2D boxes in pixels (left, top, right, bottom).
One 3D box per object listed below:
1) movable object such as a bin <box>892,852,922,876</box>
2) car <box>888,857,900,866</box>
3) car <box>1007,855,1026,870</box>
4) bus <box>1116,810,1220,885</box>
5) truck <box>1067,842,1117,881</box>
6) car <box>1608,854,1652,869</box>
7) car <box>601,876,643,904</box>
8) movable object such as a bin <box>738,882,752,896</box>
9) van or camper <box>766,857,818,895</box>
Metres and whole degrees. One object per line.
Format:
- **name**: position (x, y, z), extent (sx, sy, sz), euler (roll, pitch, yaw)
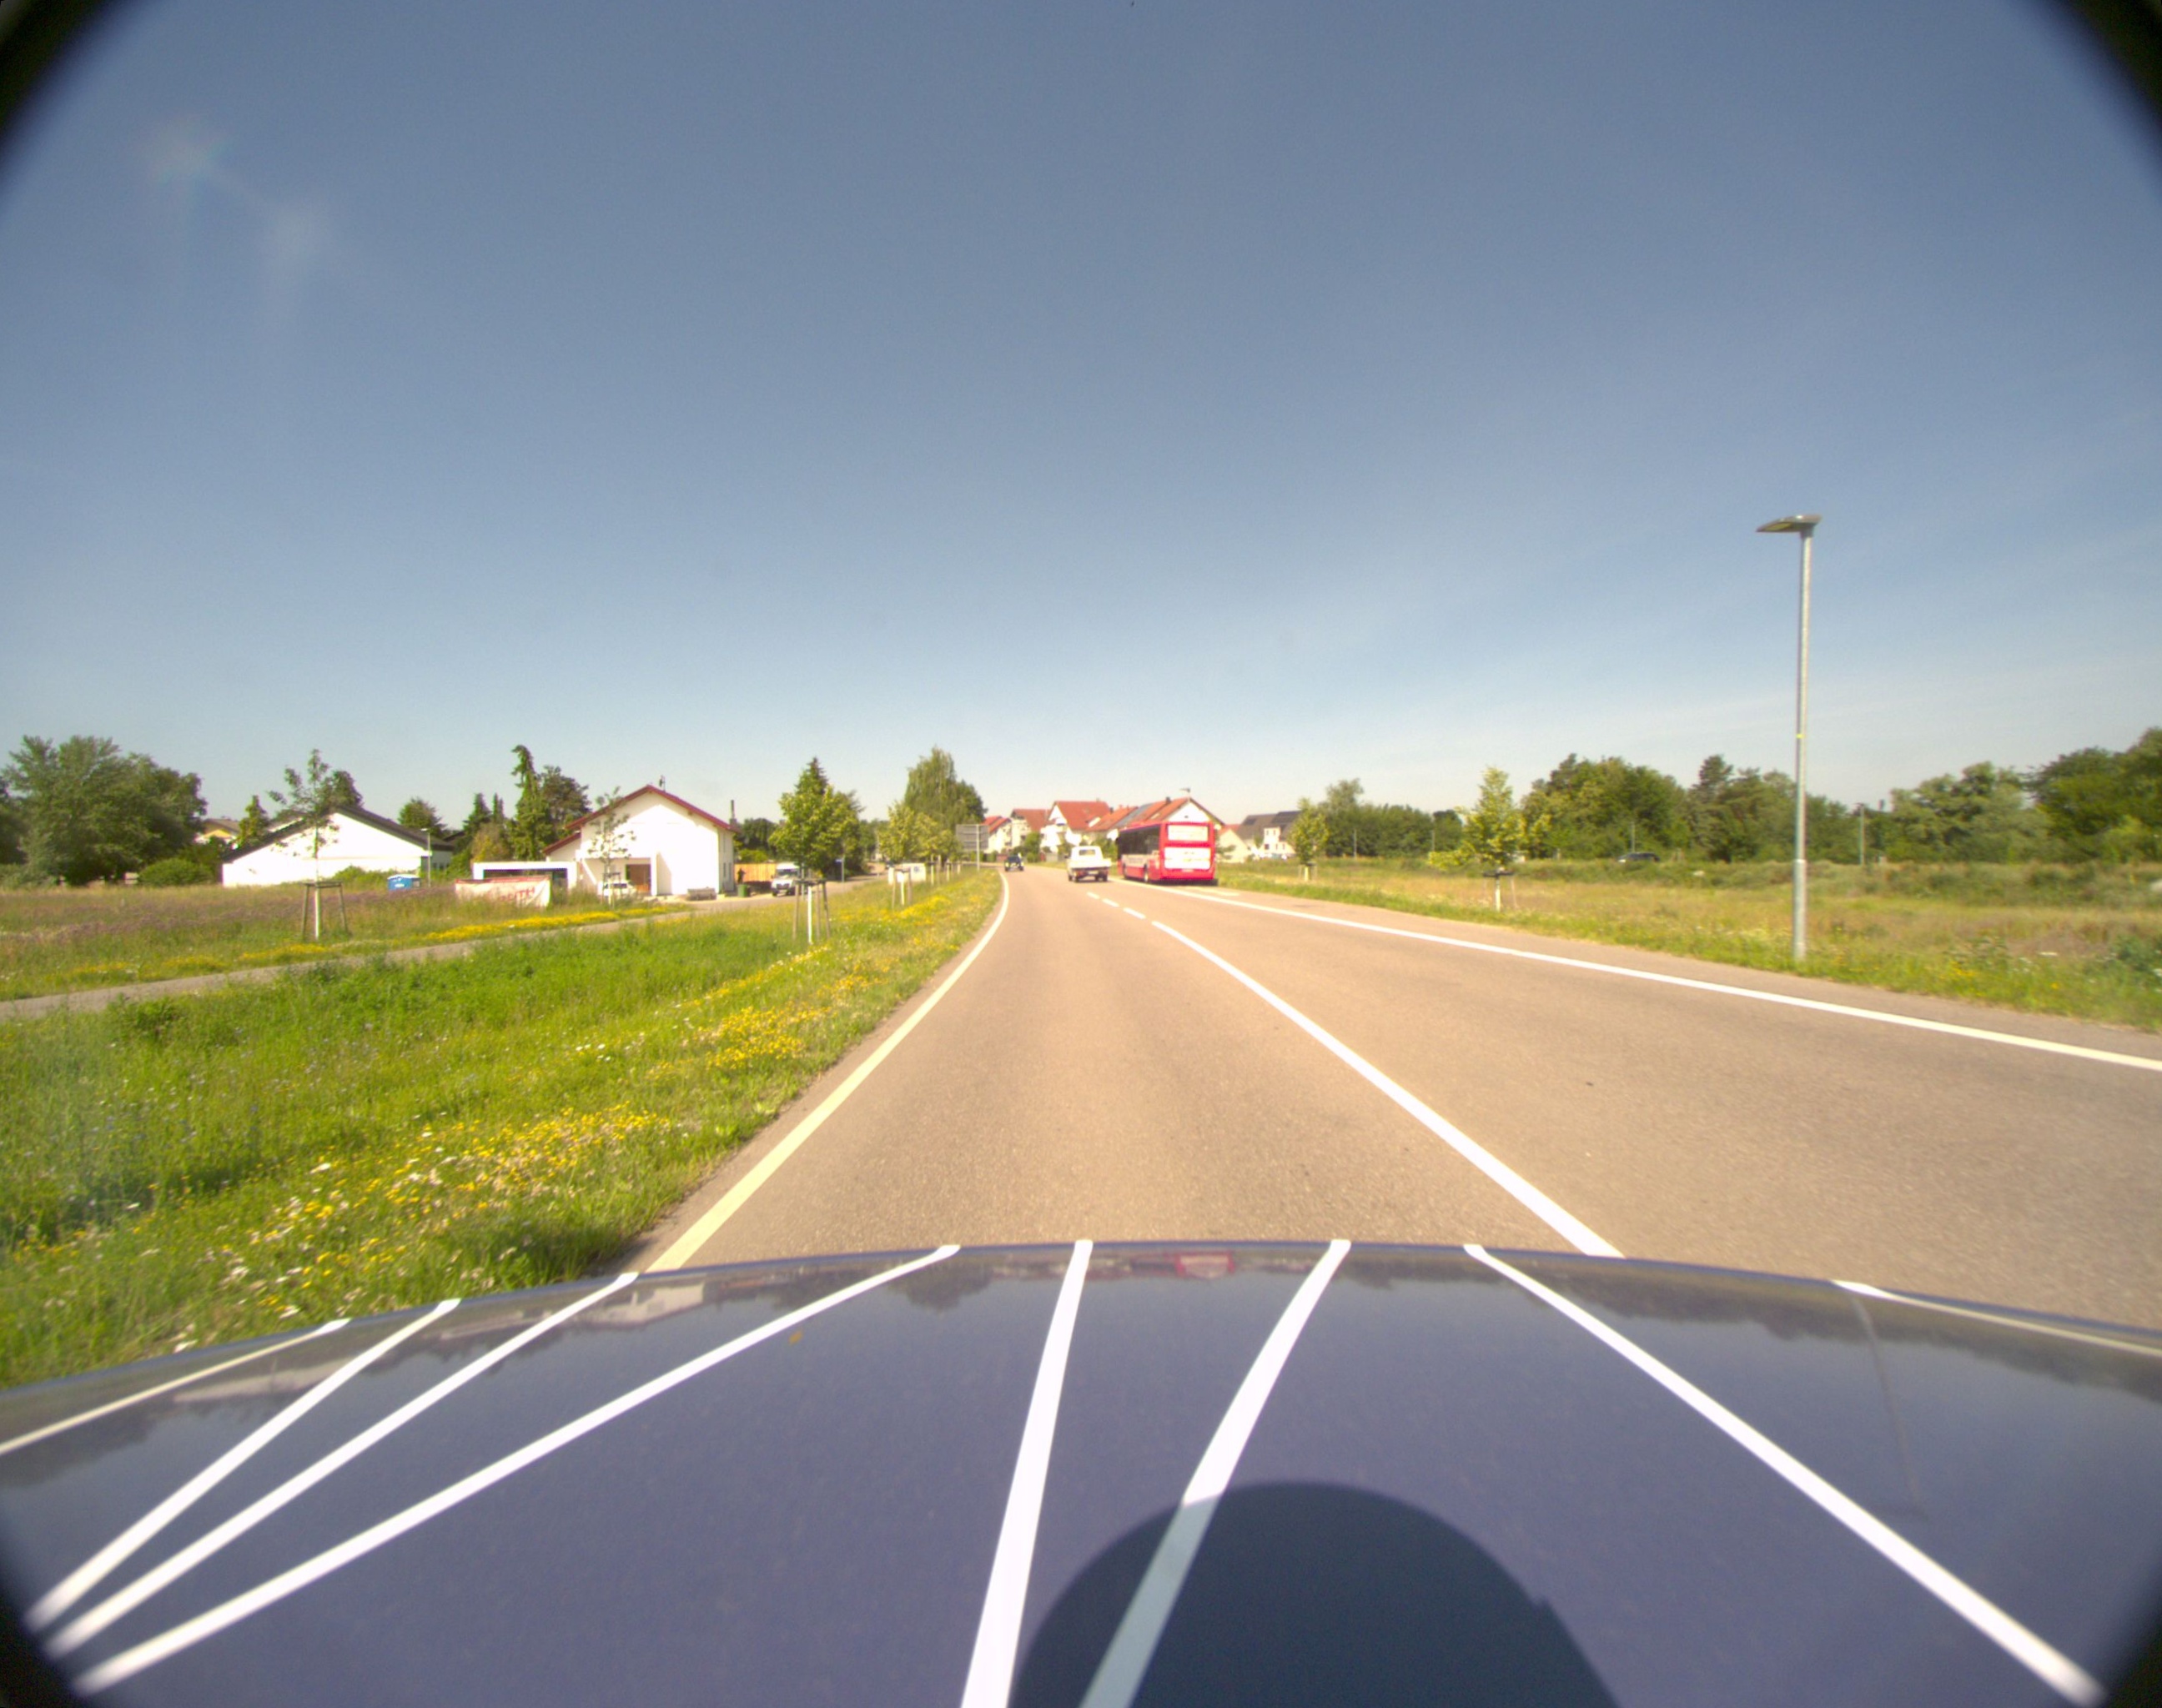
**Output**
- **movable object such as a bin**: position (-19.113, 1.045, 83.674), extent (2.323, 2.449, 6.940), euler (-2, 1, -6)
- **car**: position (-33.997, 1.384, 138.353), extent (1.864, 1.437, 4.164), euler (-3, 1, -10)
- **car**: position (-6.843, 0.871, 80.226), extent (1.934, 1.552, 3.998), euler (-1, 0, -7)
- **bus**: position (4.178, -0.269, 40.008), extent (2.803, 3.267, 12.222), euler (1, 0, -6)
- **truck**: position (0.504, 0.390, 41.984), extent (1.957, 1.973, 5.640), euler (-3, 0, -7)
- **car**: position (57.229, 0.789, 79.221), extent (3.556, 1.527, 1.511), euler (0, 1, -6)
- **car**: position (-31.082, 2.403, 51.525), extent (1.565, 1.549, 4.479), euler (-3, 1, -21)
- **movable object such as a bin**: position (-24.695, 2.567, 55.892), extent (0.694, 0.932, 0.638), euler (-2, 0, -2)
- **van or camper**: position (-22.363, 1.635, 59.085), extent (2.178, 2.586, 6.026), euler (-2, 1, -6)
